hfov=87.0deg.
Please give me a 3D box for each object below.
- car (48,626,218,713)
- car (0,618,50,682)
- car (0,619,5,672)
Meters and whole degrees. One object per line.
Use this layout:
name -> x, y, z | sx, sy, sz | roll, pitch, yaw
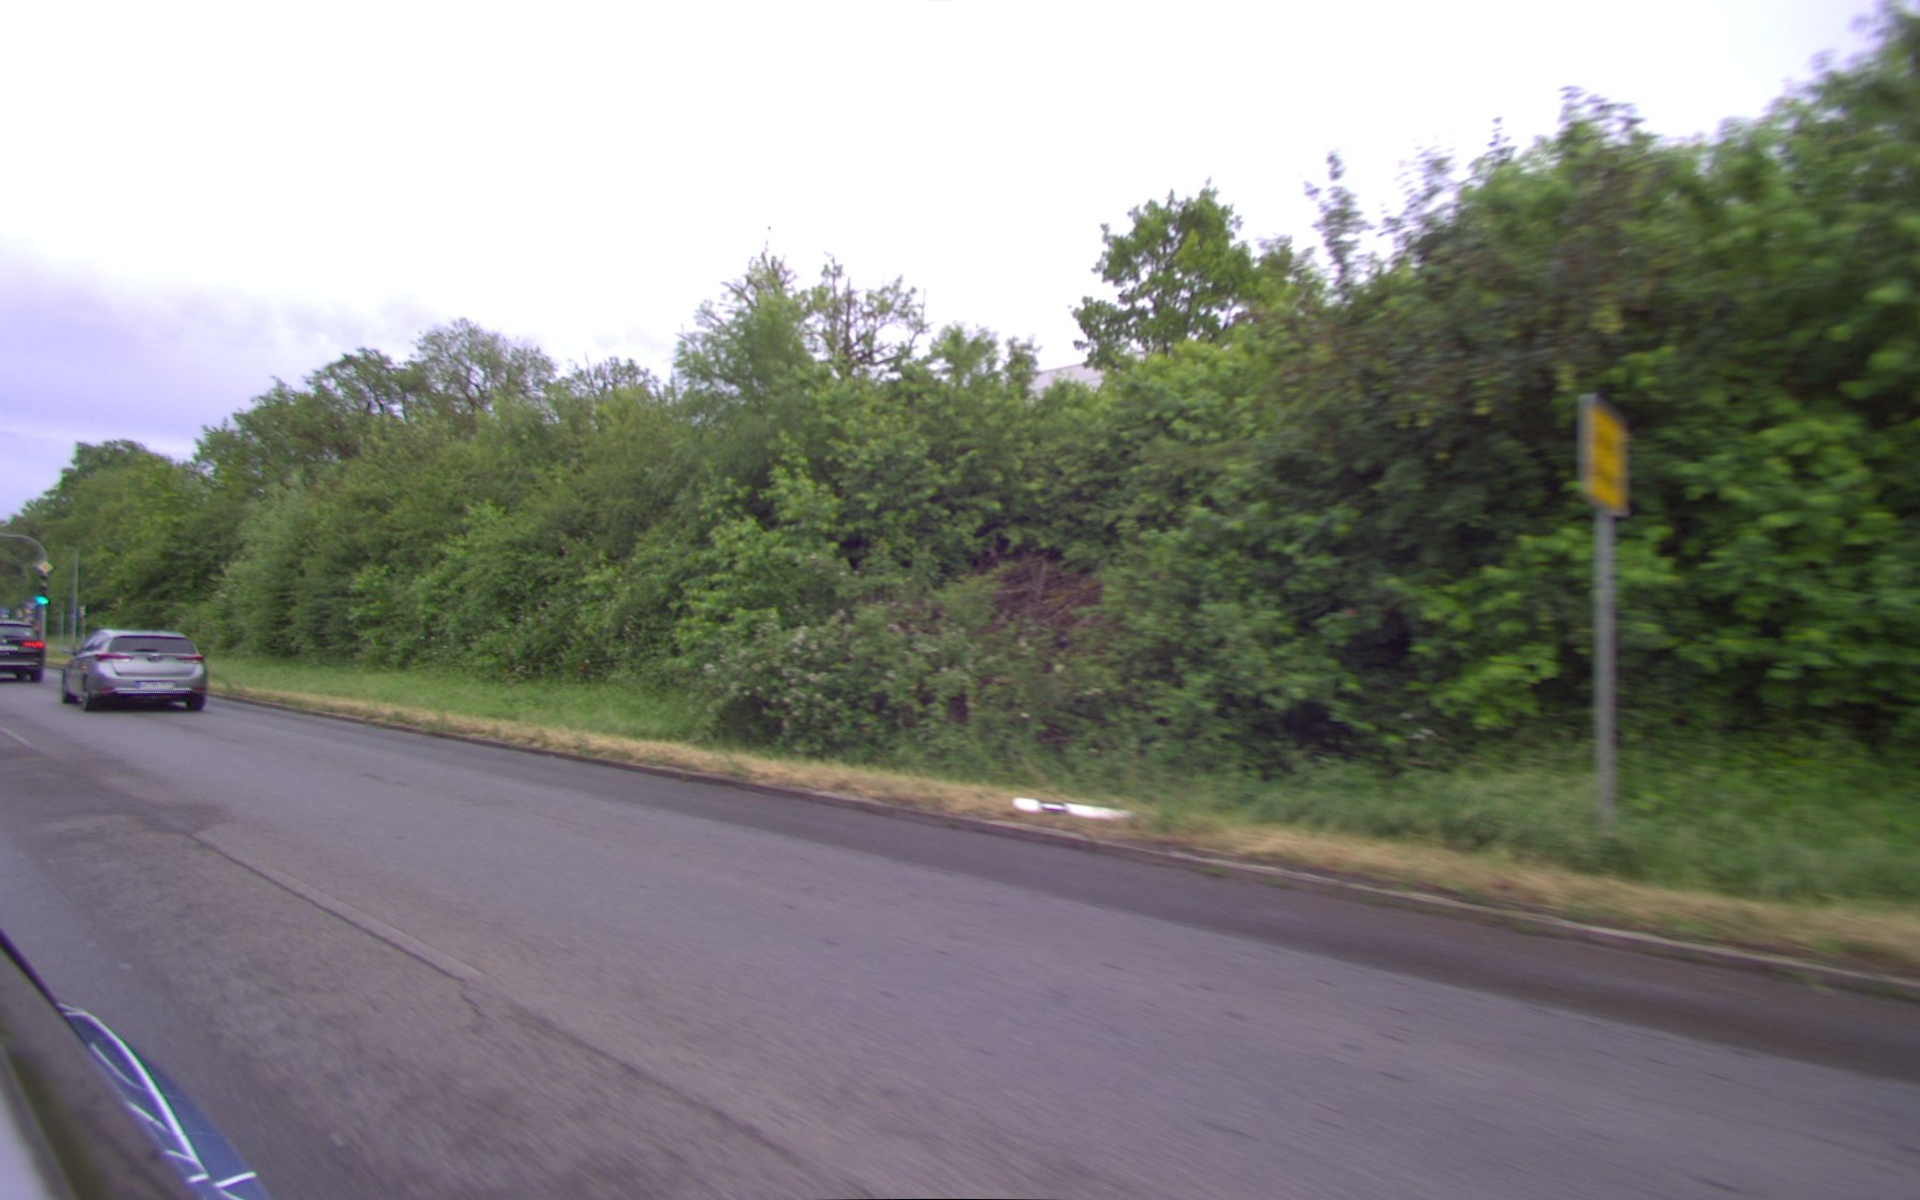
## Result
car -> -15.628, 1.241, 19.053 | 4.176, 1.443, 1.783 | -1, -3, 41
car -> -25.716, 1.293, 26.820 | 4.277, 1.606, 1.715 | -1, -3, 39
car -> -32.350, 1.421, 32.532 | 4.266, 1.647, 1.875 | -1, -3, 40
